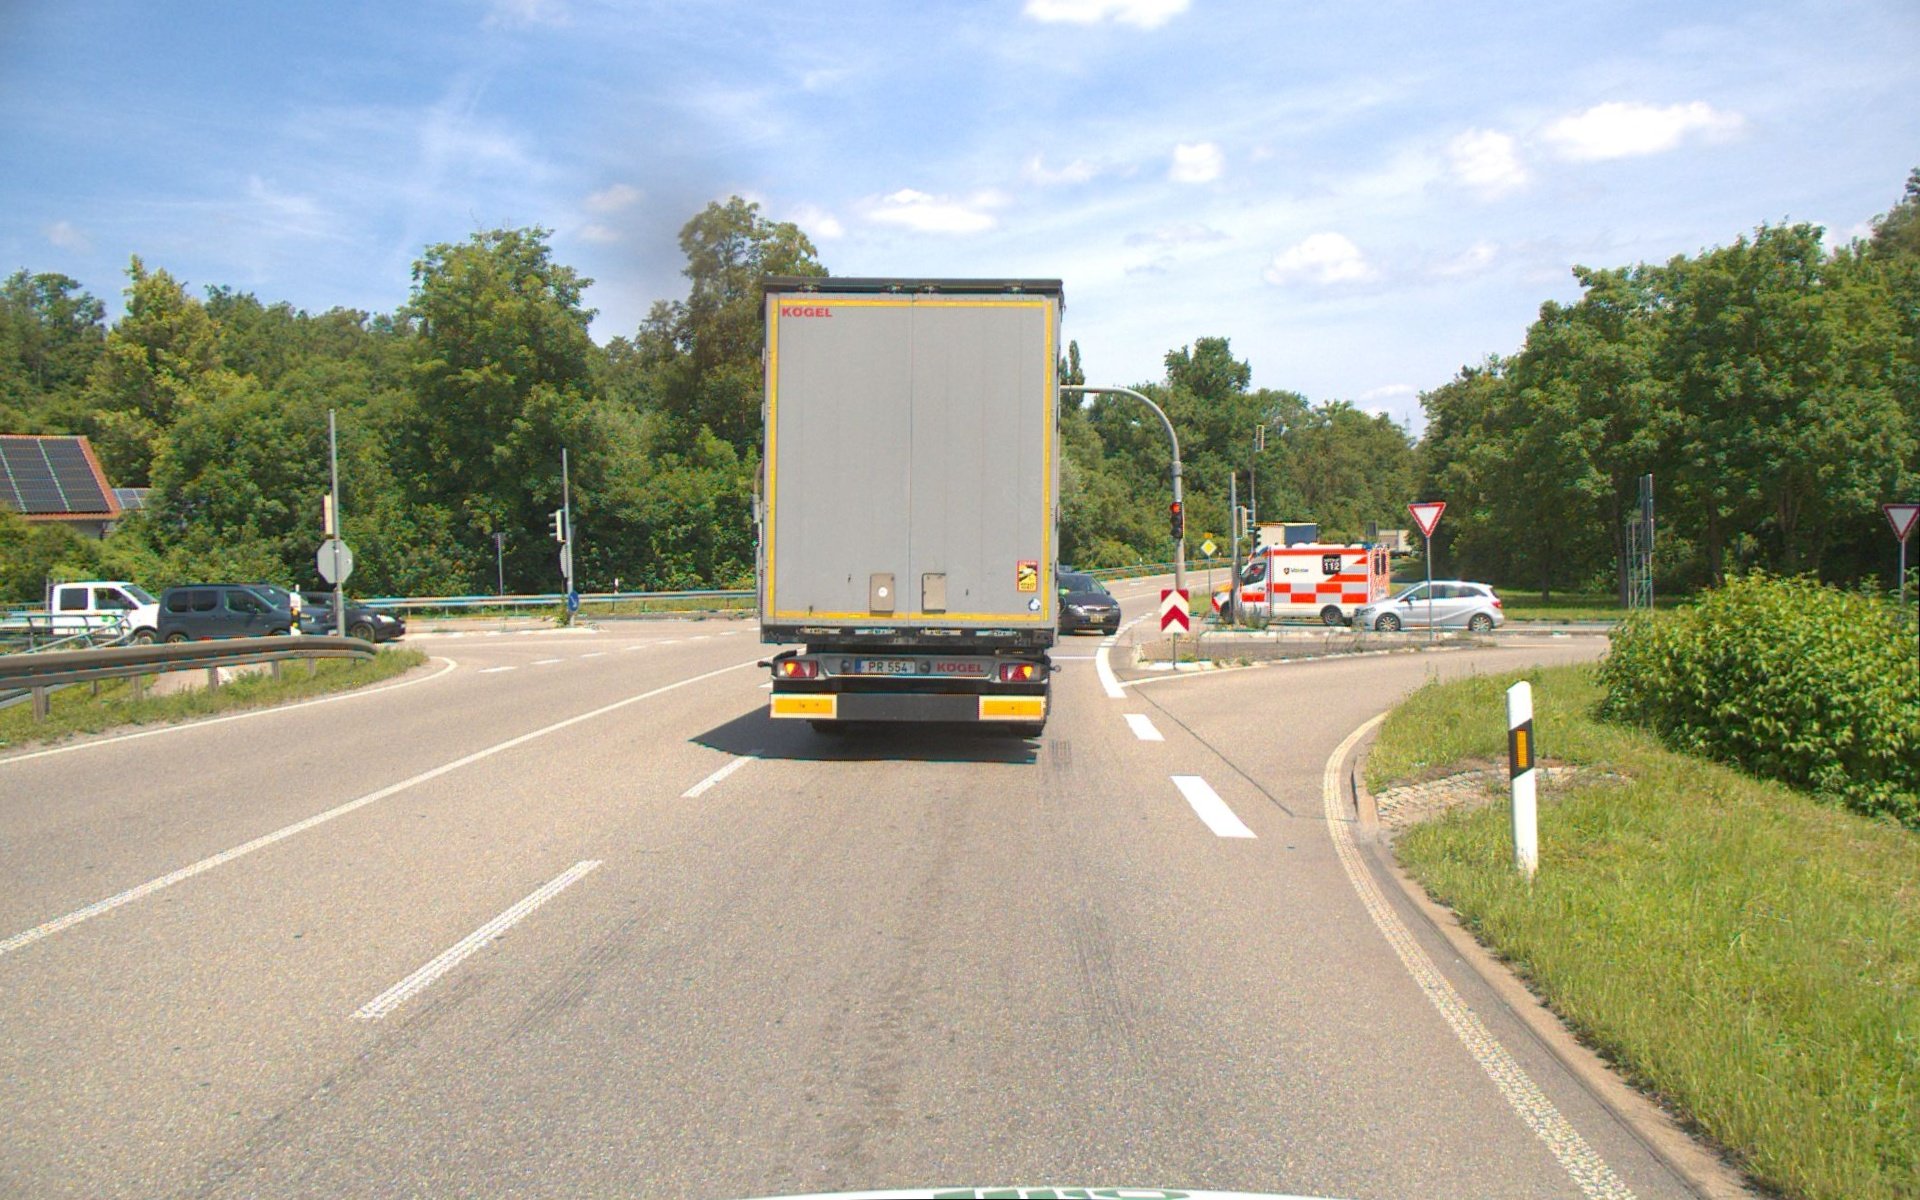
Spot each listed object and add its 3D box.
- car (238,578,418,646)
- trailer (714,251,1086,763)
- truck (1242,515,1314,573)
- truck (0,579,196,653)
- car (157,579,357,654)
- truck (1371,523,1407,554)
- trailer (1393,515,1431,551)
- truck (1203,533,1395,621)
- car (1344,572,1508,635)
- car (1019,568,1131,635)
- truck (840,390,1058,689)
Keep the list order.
[{"bbox_3d":[-17.204,0.318,45.135,4.143,1.801,2.002,0,0,10],"label":"car"},{"bbox_3d":[-0.262,-0.801,19.580,2.988,4.104,12.562,0,0,2],"label":"trailer"},{"bbox_3d":[25.062,-4.328,129.790,3.115,4.099,11.740,1,0,23],"label":"truck"},{"bbox_3d":[-23.245,0.438,44.135,4.790,1.823,2.037,1,-1,-12],"label":"truck"},{"bbox_3d":[-17.393,0.405,41.003,4.143,1.801,2.002,0,0,10],"label":"car"},{"bbox_3d":[44.642,-6.370,172.051,2.797,2.999,7.104,1,1,22],"label":"truck"},{"bbox_3d":[51.313,-7.529,187.685,3.185,3.750,9.250,1,1,22],"label":"trailer"},{"bbox_3d":[11.453,-0.743,56.065,5.910,2.775,2.492,0,-2,36],"label":"truck"},{"bbox_3d":[13.652,0.116,48.629,4.334,1.748,2.001,1,-1,5],"label":"car"},{"bbox_3d":[3.291,0.088,48.422,1.959,1.816,4.926,1,-1,-12],"label":"car"},{"bbox_3d":[-0.032,-0.809,26.007,2.975,4.104,6.630,0,-1,2],"label":"truck"}]
